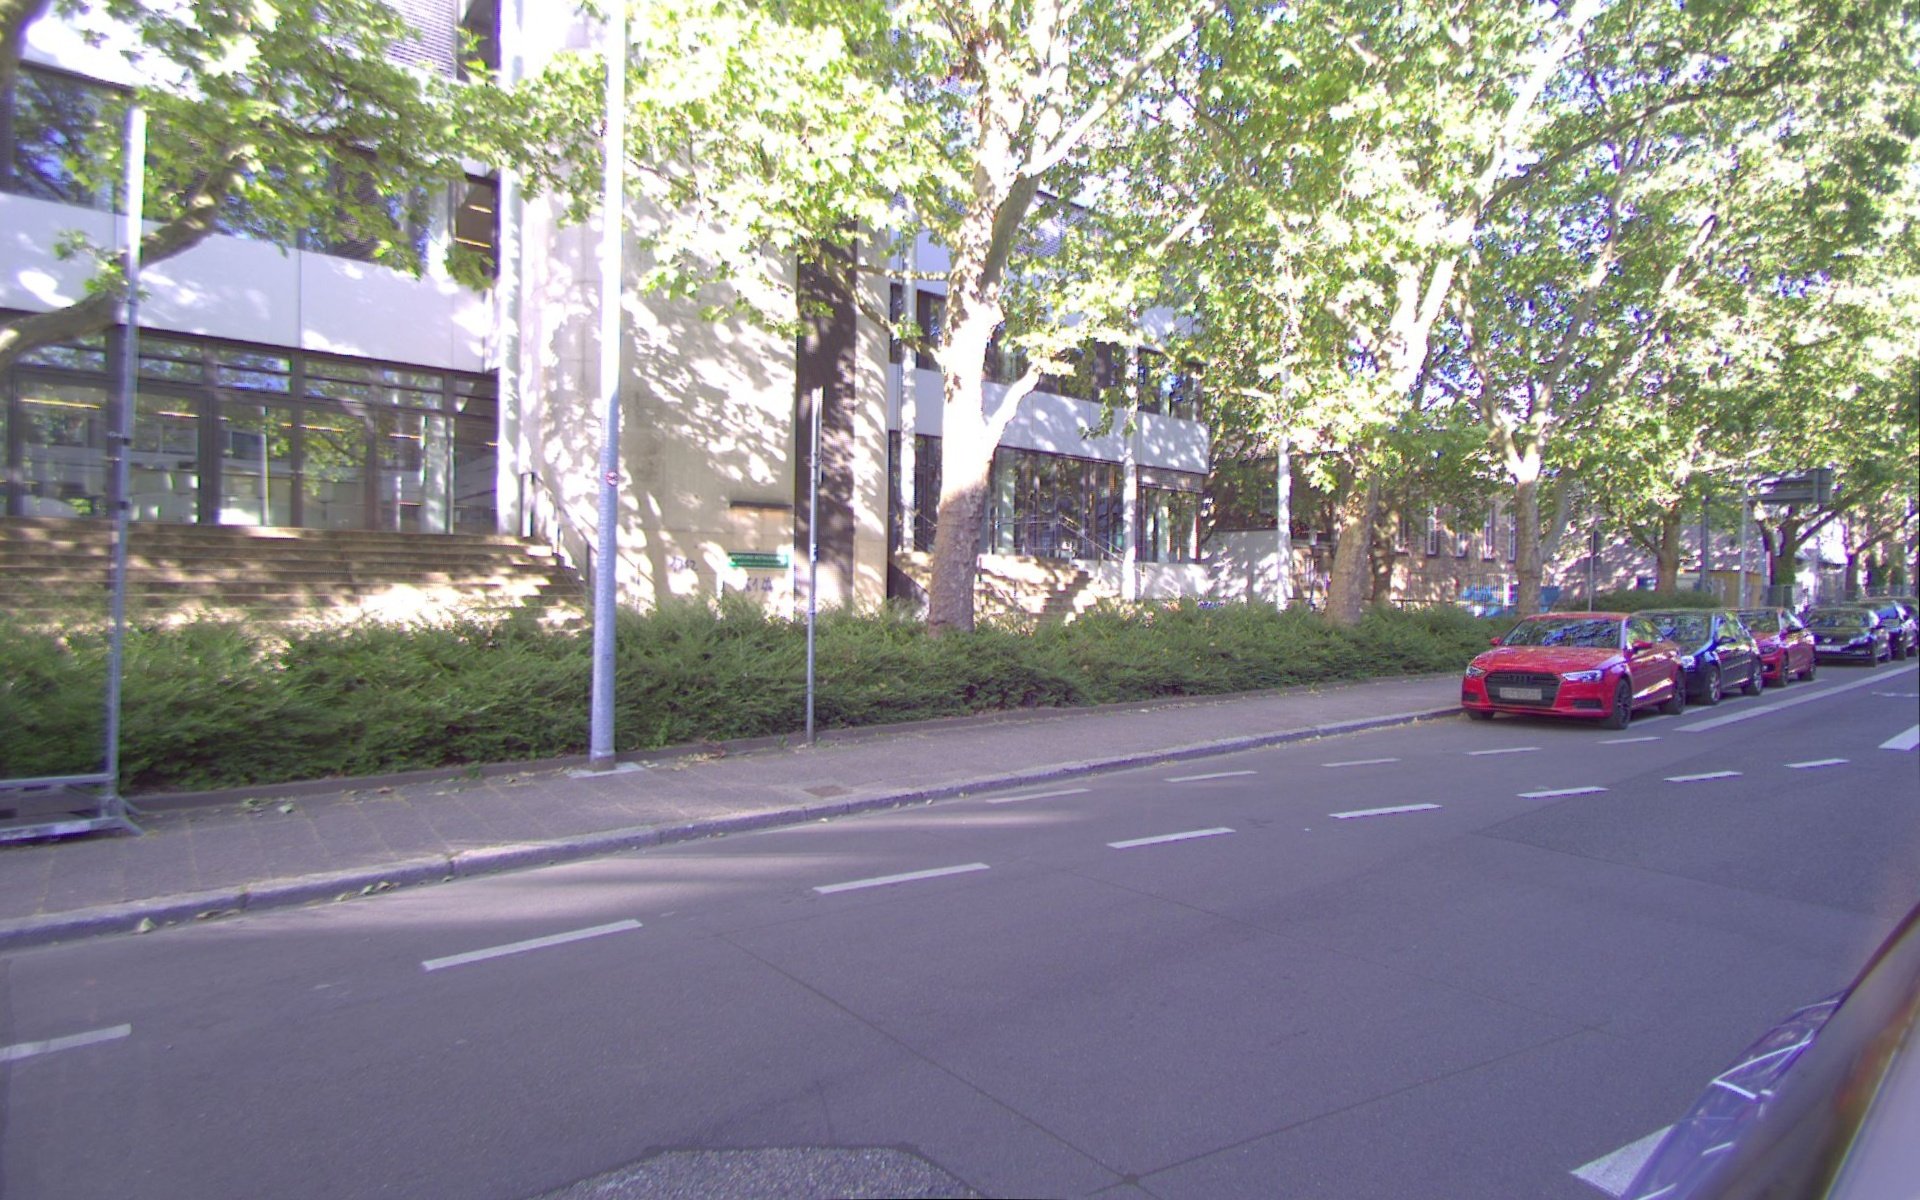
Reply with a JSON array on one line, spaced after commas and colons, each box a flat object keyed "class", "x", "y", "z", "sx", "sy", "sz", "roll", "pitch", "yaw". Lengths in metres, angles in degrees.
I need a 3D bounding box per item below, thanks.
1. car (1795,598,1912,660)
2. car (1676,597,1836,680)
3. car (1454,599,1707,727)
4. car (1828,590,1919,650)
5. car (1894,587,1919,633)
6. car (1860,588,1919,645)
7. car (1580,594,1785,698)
[{"class": "car", "x": 22.982, "y": 0.682, "z": 26.003, "sx": 3.930, "sy": 1.456, "sz": 1.744, "roll": 0, "pitch": 1, "yaw": -41}, {"class": "car", "x": 15.790, "y": 0.676, "z": 20.013, "sx": 3.930, "sy": 1.456, "sz": 1.789, "roll": 0, "pitch": 1, "yaw": -41}, {"class": "car", "x": 8.367, "y": 0.723, "z": 13.507, "sx": 4.101, "sy": 1.443, "sz": 1.773, "roll": 0, "pitch": -1, "yaw": -42}, {"class": "car", "x": 26.646, "y": 0.526, "z": 29.200, "sx": 4.158, "sy": 1.601, "sz": 1.847, "roll": 0, "pitch": 1, "yaw": -41}, {"class": "car", "x": 35.739, "y": 0.364, "z": 37.083, "sx": 4.004, "sy": 1.638, "sz": 1.797, "roll": 0, "pitch": 1, "yaw": -41}, {"class": "car", "x": 31.080, "y": 0.483, "z": 33.061, "sx": 4.188, "sy": 1.747, "sz": 1.997, "roll": -1, "pitch": 0, "yaw": -41}, {"class": "car", "x": 11.947, "y": 0.661, "z": 16.647, "sx": 3.929, "sy": 1.475, "sz": 1.812, "roll": 0, "pitch": 1, "yaw": -40}]
